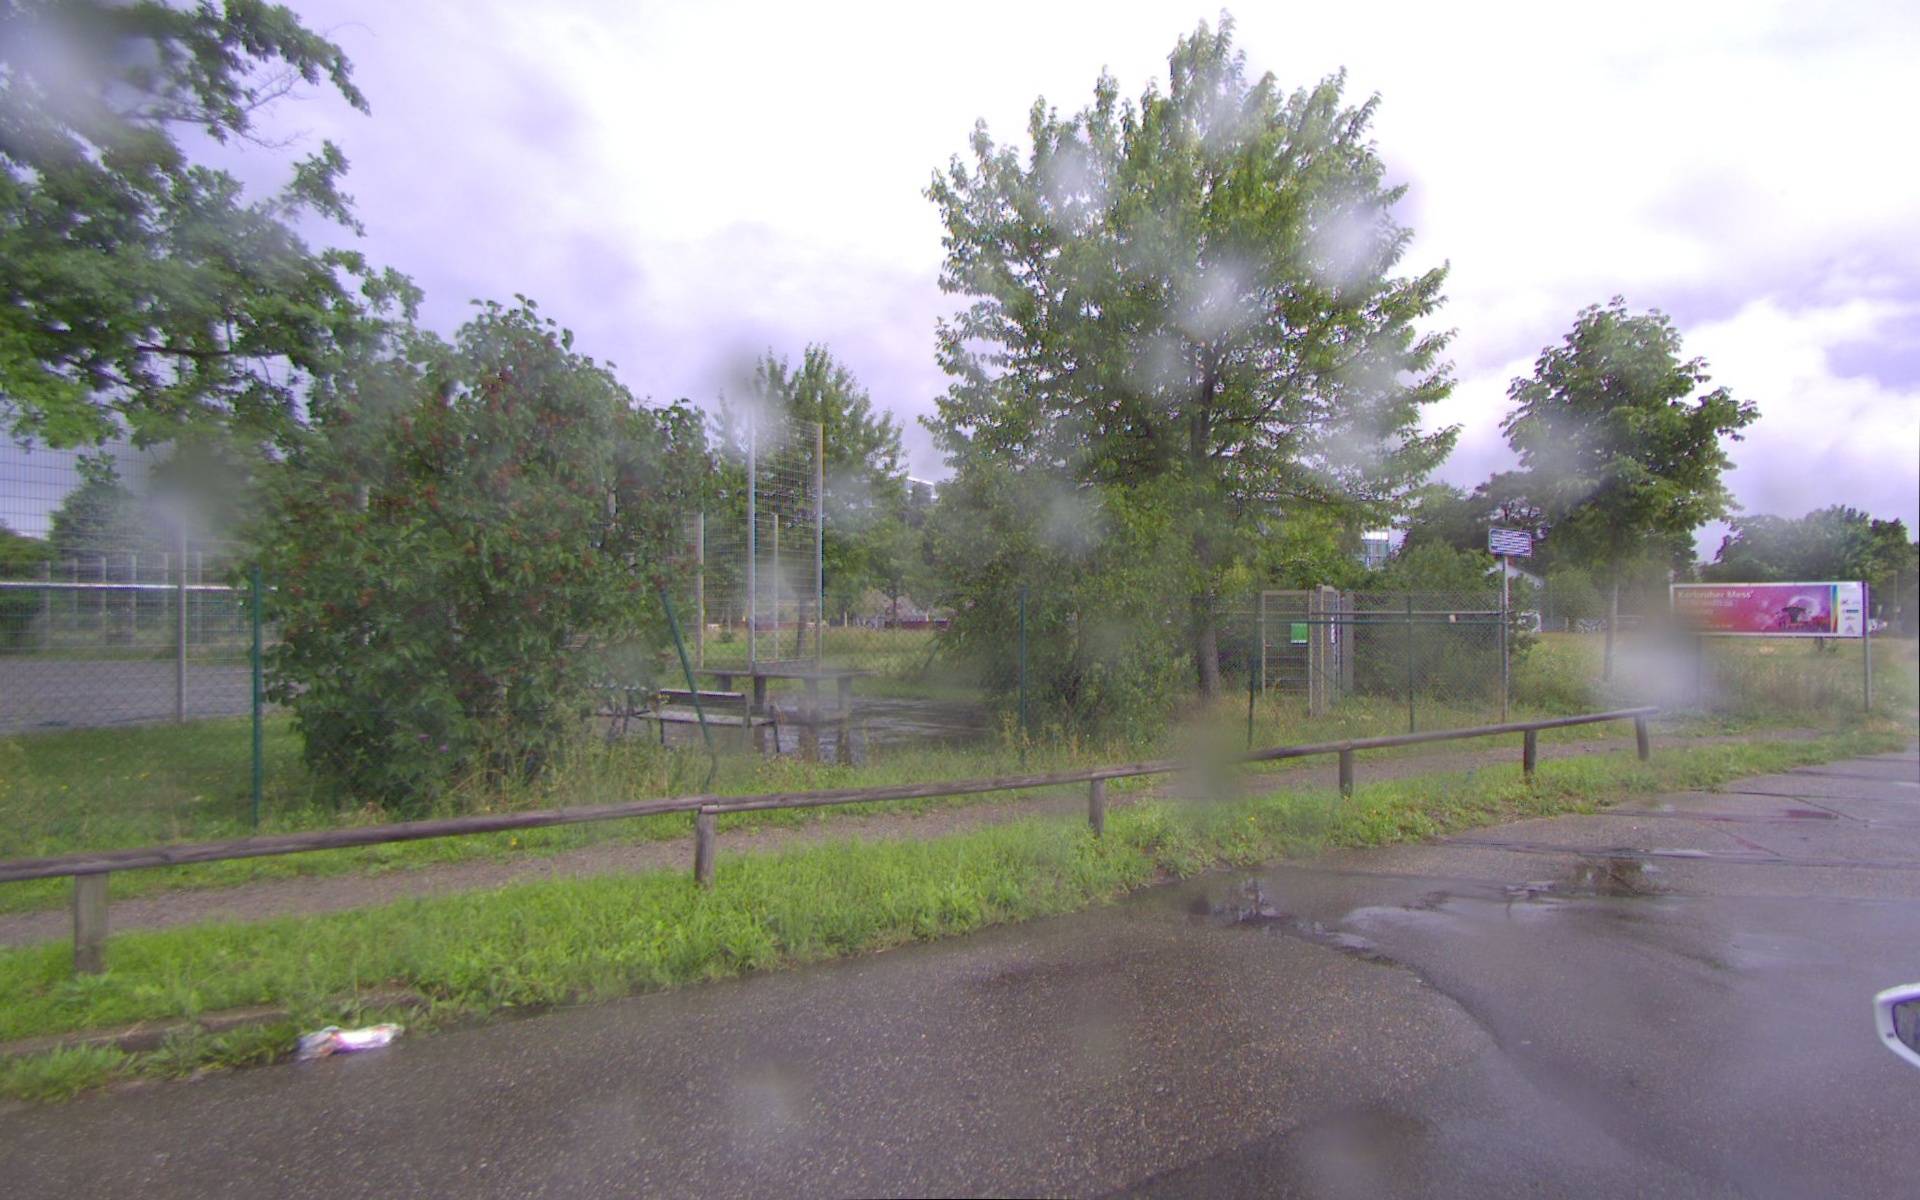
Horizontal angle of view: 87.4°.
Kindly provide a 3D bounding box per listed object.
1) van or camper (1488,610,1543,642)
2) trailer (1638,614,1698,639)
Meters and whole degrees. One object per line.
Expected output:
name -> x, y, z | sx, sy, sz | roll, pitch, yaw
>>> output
van or camper -> 52.199, 2.428, 94.358 | 4.436, 2.985, 2.479 | -1, -1, 30
trailer -> 62.631, 2.303, 88.925 | 4.038, 2.117, 1.842 | 1, -1, 28
